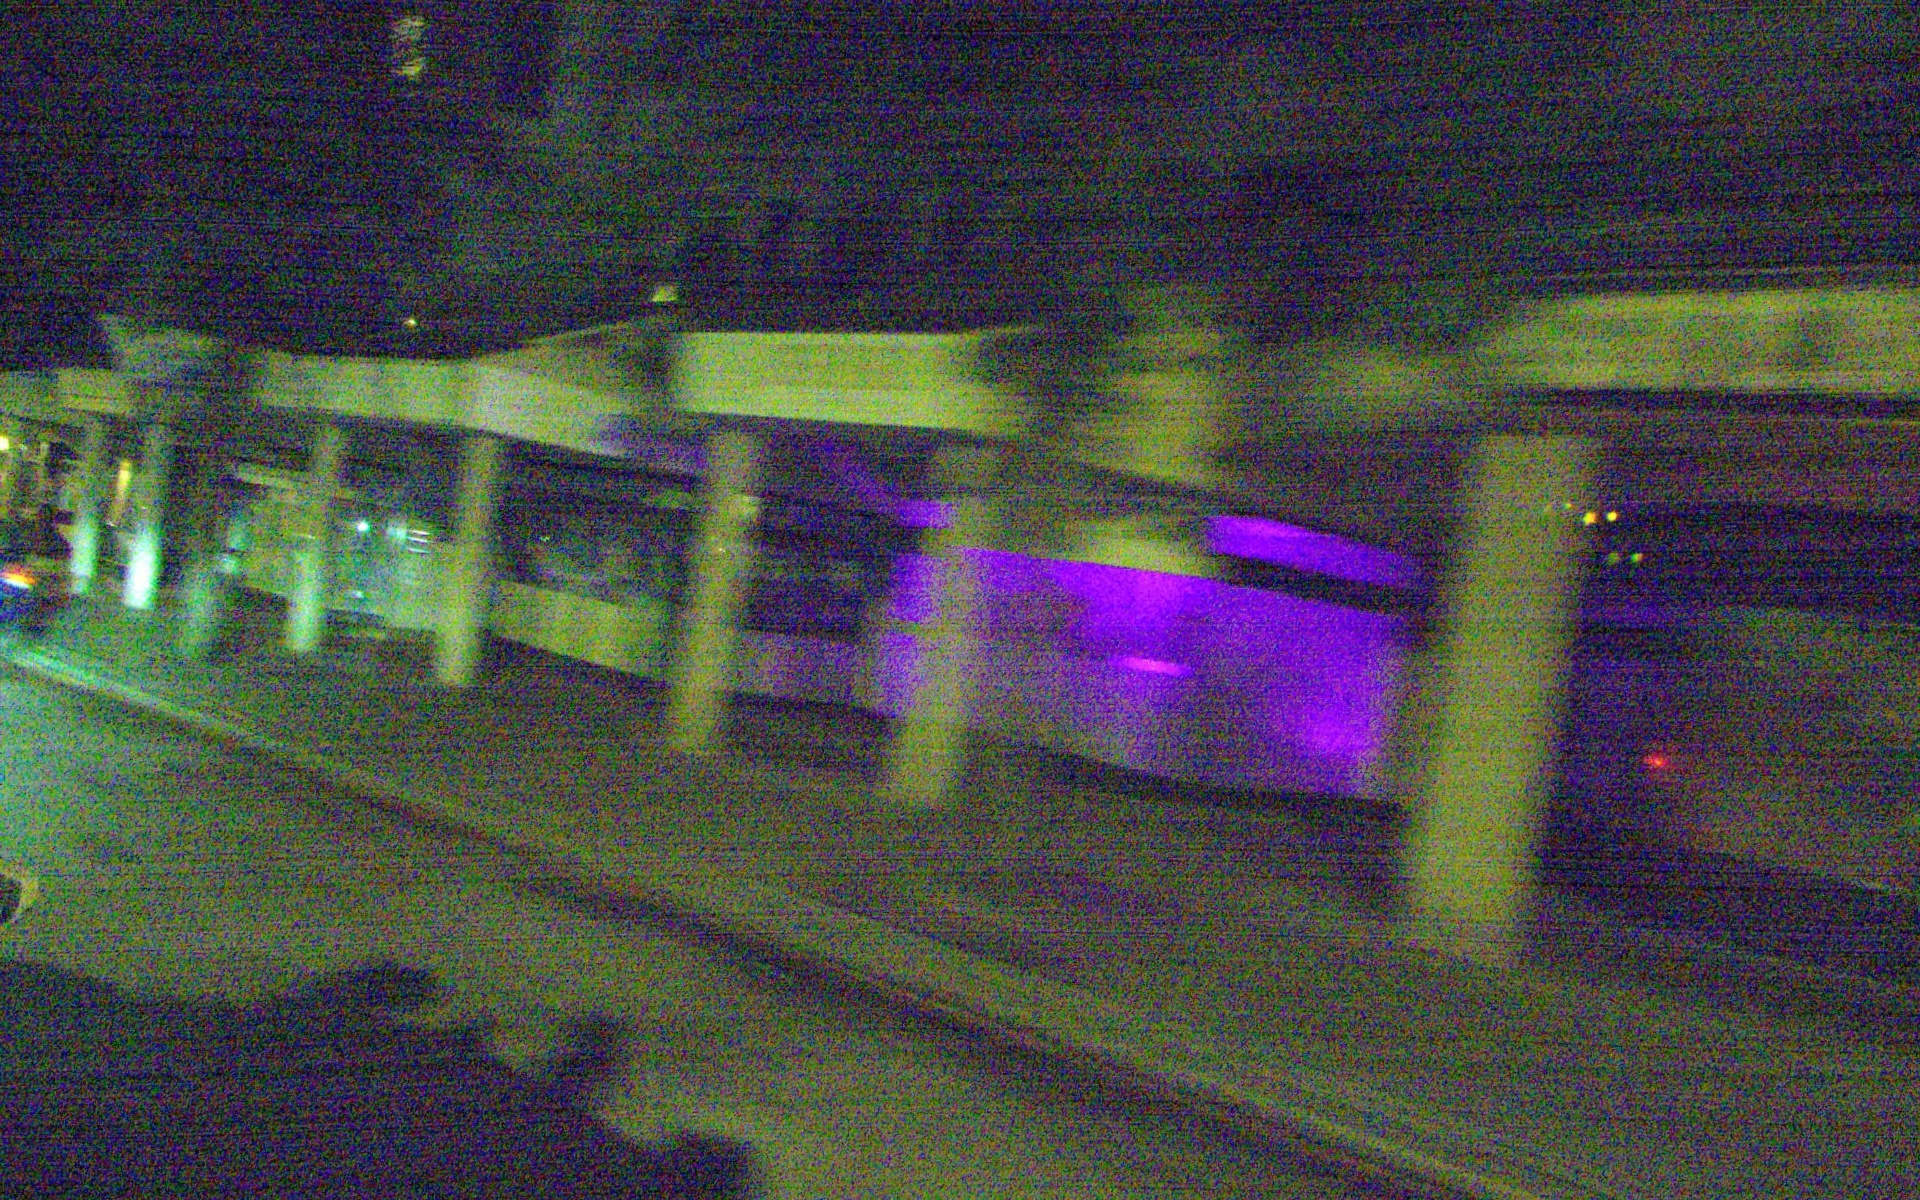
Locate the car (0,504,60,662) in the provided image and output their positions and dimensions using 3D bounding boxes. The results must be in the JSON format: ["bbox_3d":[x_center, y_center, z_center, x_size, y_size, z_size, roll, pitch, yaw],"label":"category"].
[{"bbox_3d":[-10.408,-0.380,9.662,3.459,1.415,1.603,7,-2,32],"label":"car"}]
